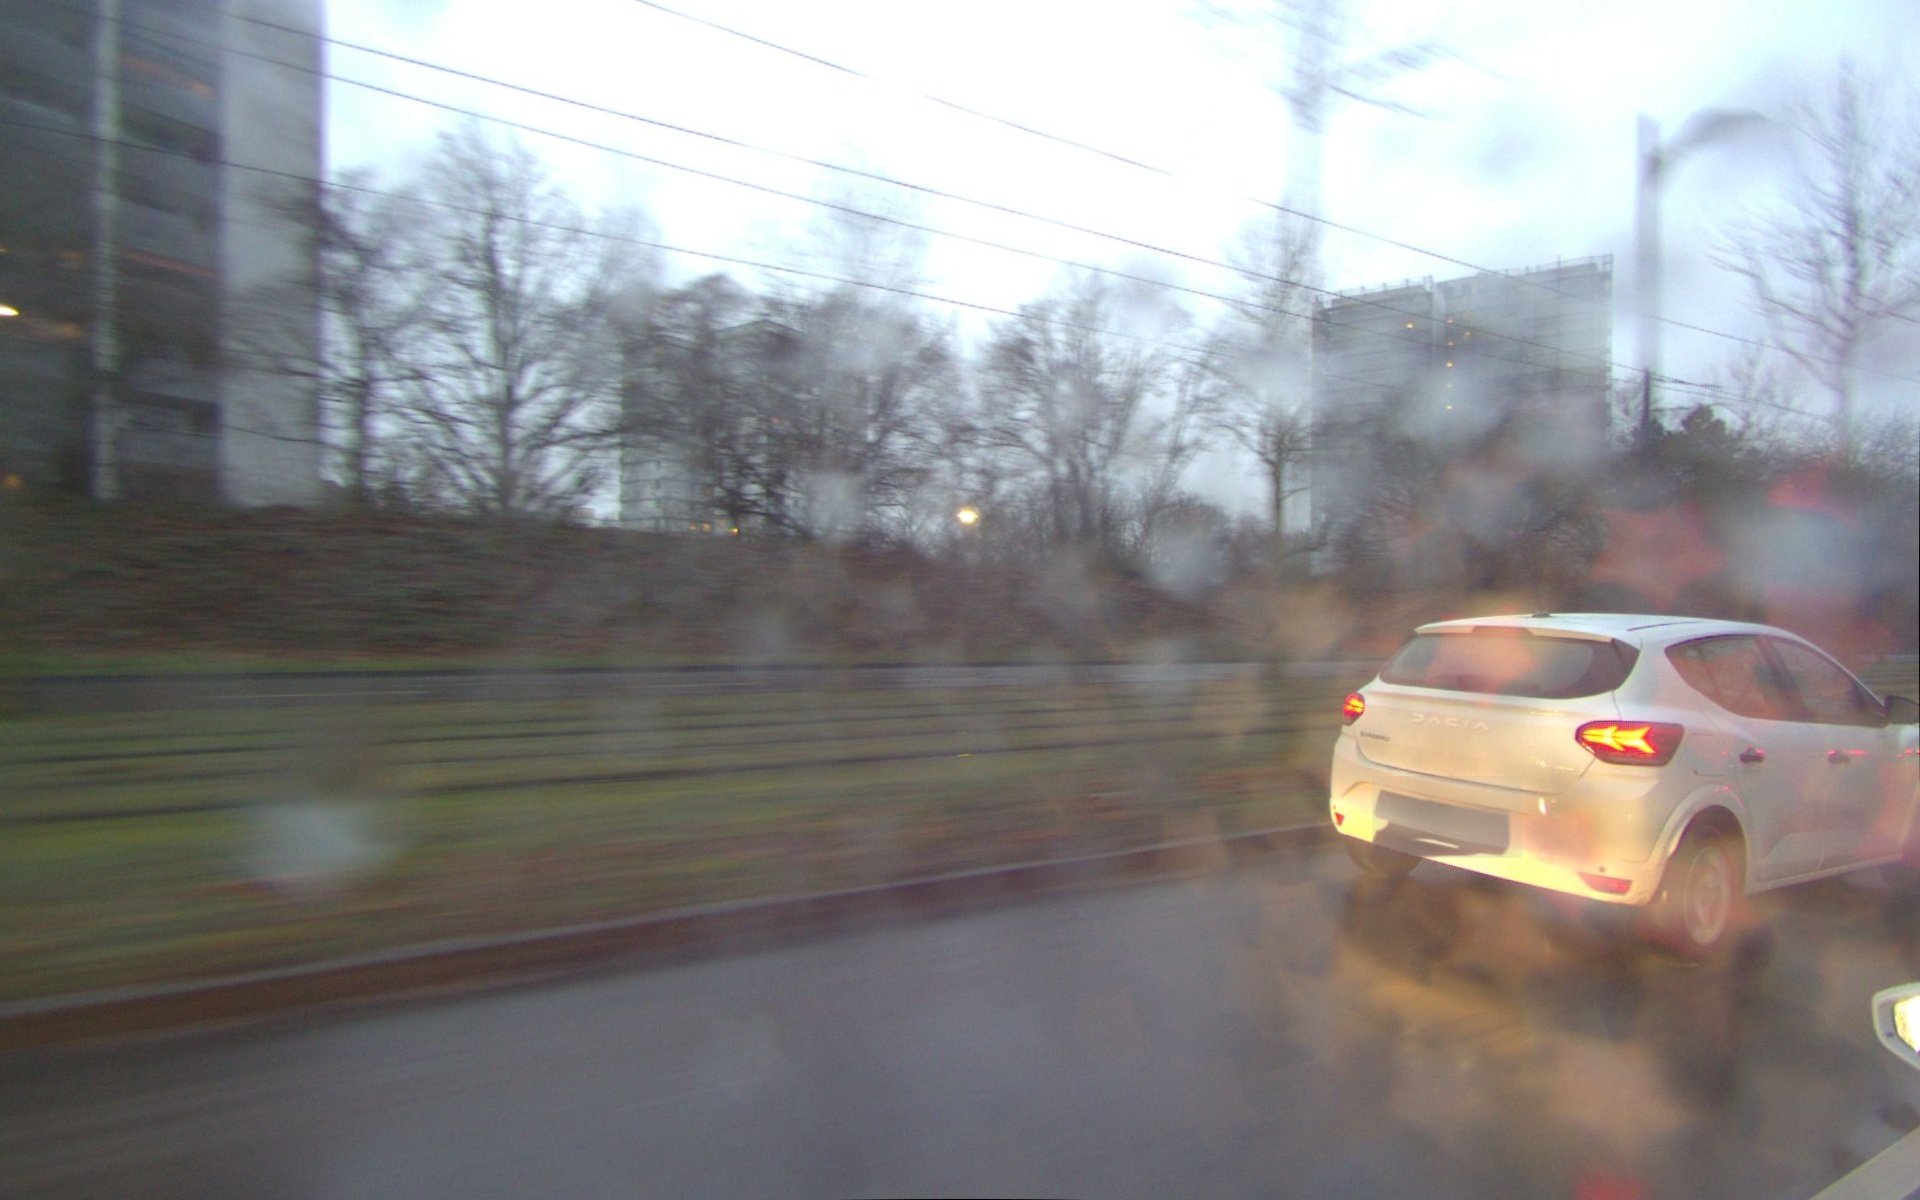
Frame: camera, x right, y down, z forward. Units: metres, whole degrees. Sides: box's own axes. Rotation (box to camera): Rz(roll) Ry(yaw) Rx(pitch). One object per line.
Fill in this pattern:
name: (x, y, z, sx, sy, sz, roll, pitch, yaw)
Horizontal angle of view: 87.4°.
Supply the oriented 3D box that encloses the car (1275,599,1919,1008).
car: (3.846, 0.815, 5.566, 4.085, 1.545, 1.701, 1, -1, -30)
